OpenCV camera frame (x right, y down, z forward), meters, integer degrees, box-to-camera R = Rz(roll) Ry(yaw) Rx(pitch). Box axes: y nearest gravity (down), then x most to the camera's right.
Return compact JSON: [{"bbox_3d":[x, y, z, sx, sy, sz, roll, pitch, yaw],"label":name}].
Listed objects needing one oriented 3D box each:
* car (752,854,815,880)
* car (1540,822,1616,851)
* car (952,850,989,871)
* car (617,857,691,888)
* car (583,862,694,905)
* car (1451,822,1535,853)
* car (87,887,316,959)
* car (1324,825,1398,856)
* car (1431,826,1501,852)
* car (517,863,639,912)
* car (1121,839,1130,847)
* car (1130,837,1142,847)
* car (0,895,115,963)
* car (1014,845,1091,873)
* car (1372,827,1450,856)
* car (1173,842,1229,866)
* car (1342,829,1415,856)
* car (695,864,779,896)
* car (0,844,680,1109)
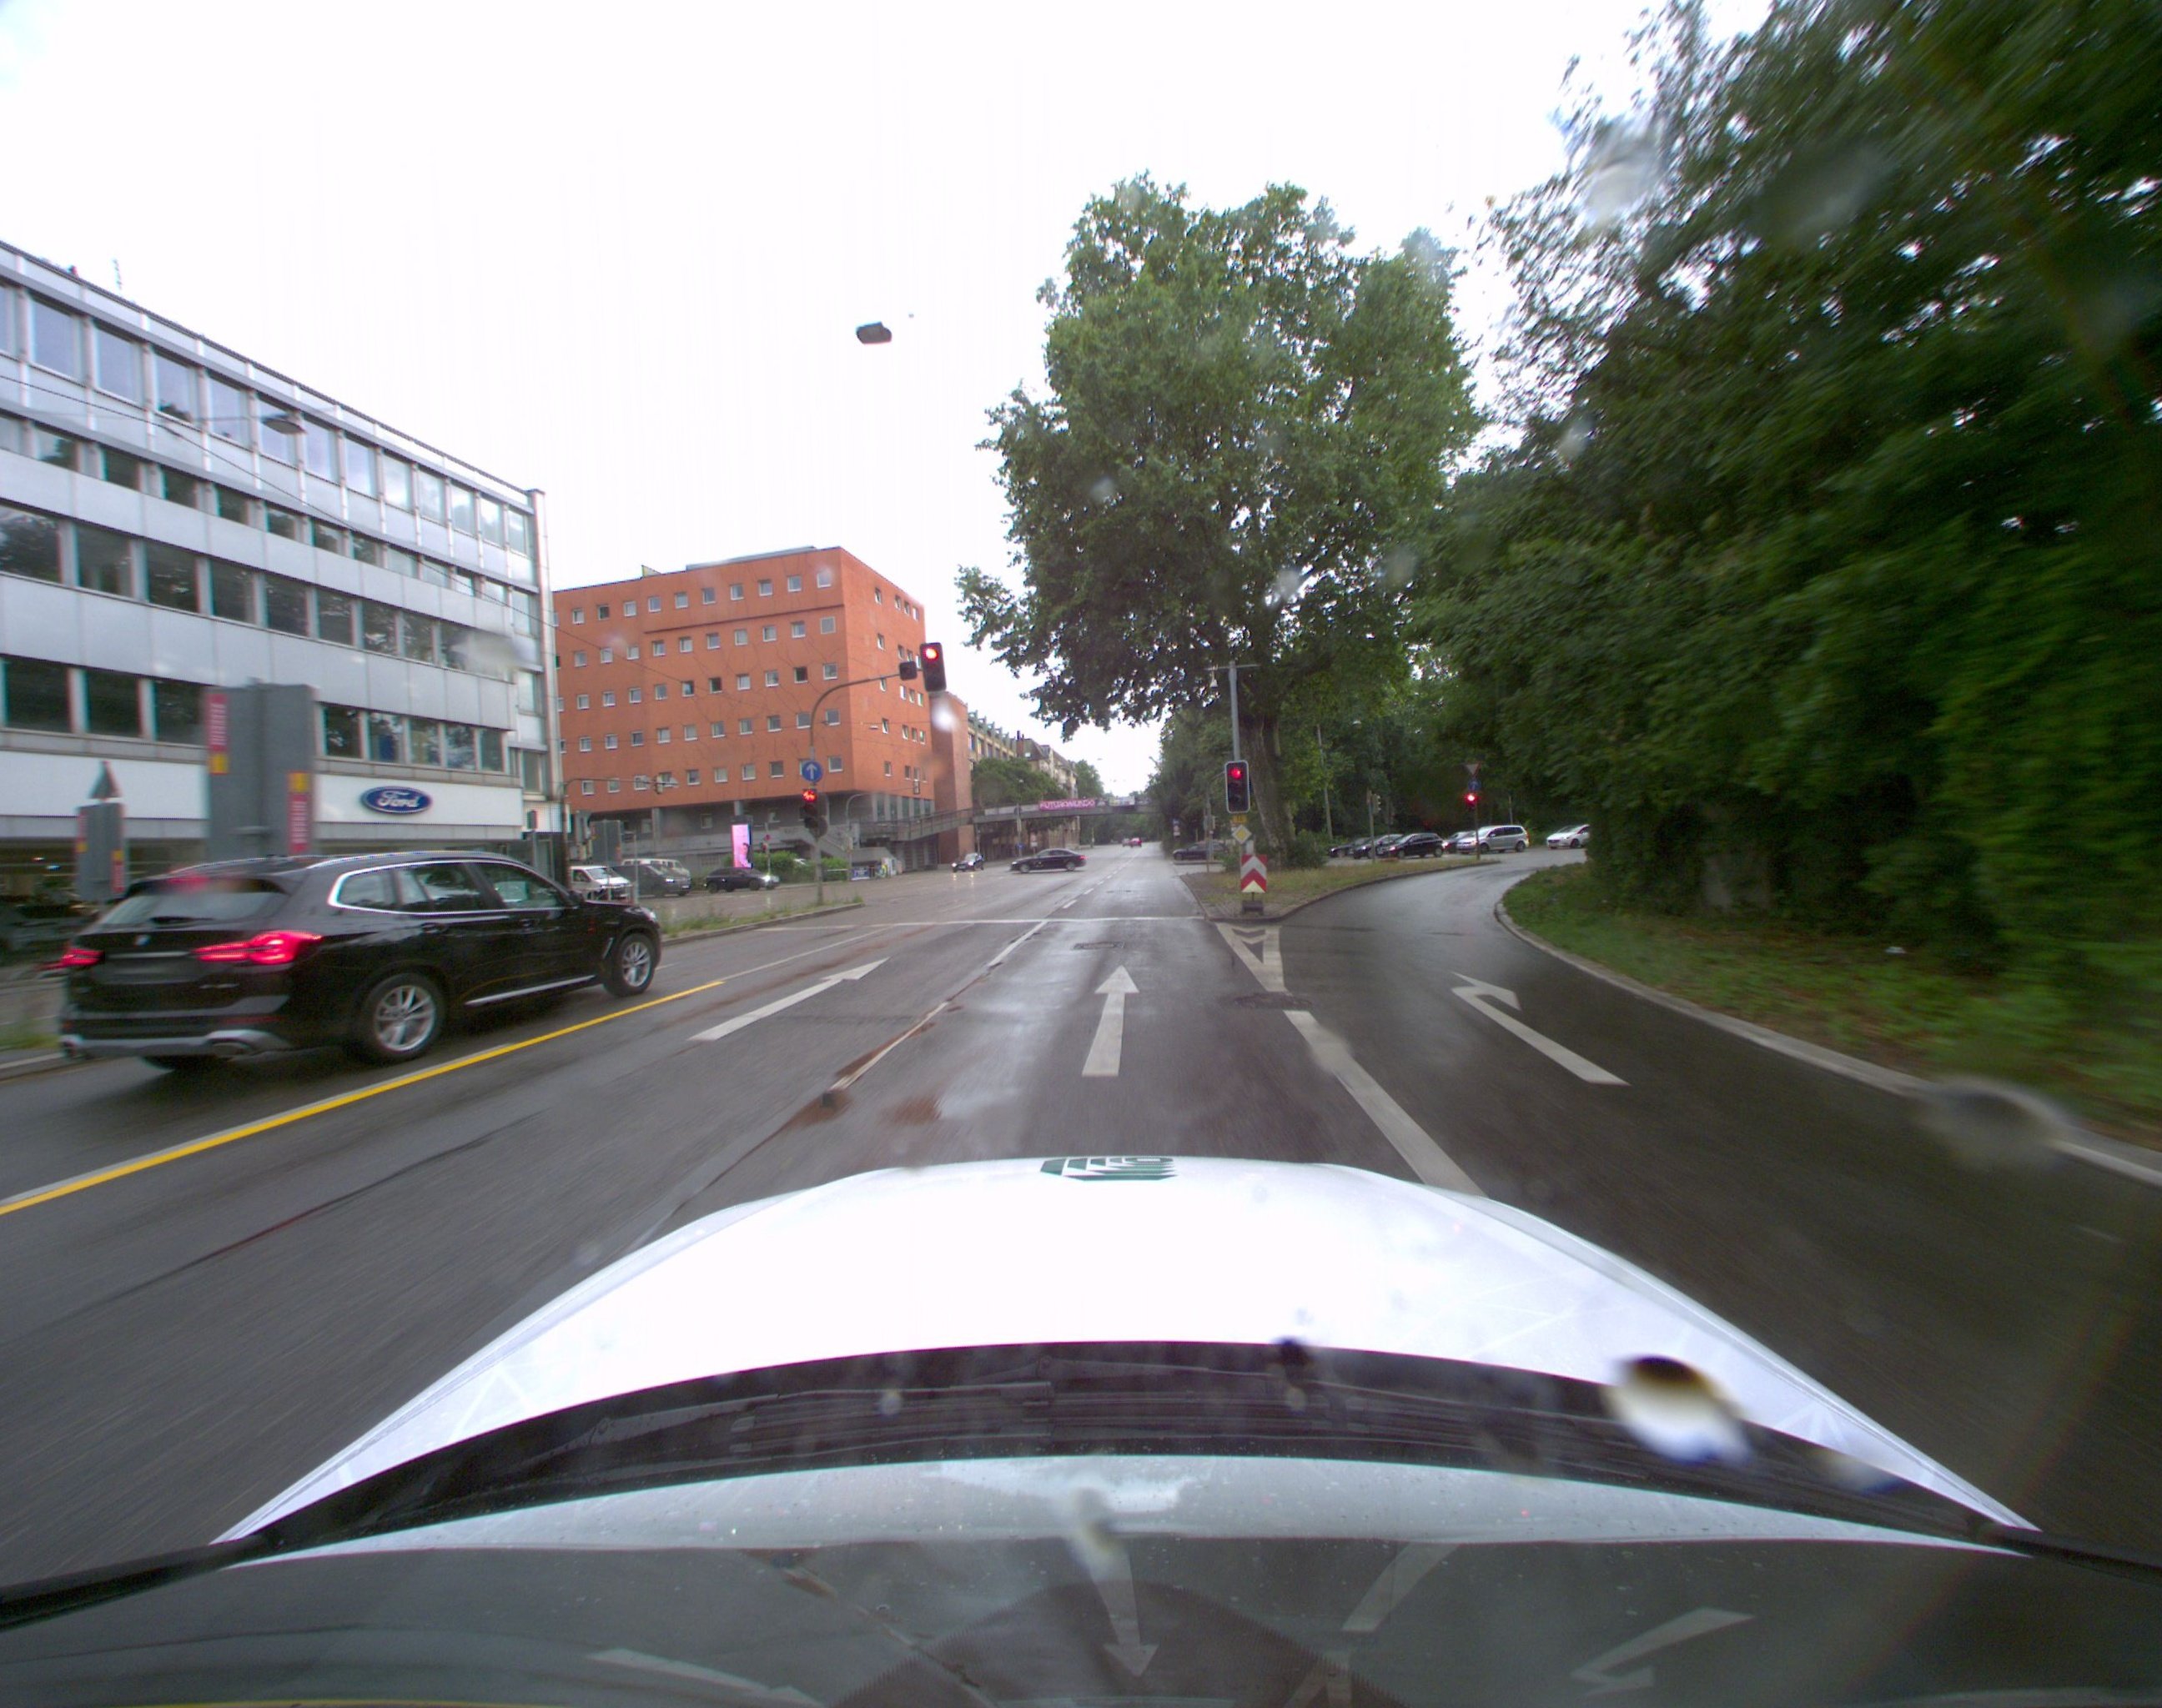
[{"bbox_3d":[-22.729,1.022,62.322,3.986,1.618,1.901,-5,0,13],"label":"car"},{"bbox_3d":[31.009,-1.082,50.833,3.996,1.486,1.764,-5,0,-16],"label":"car"},{"bbox_3d":[-8.551,0.471,63.596,1.984,1.519,4.005,-3,0,4],"label":"car"},{"bbox_3d":[-30.421,1.253,58.195,1.980,2.013,4.868,1,1,12],"label":"car"},{"bbox_3d":[-23.825,1.585,43.920,5.041,1.845,2.007,-5,-1,12],"label":"car"},{"bbox_3d":[24.716,-0.980,48.881,4.263,1.486,1.767,-5,0,-12],"label":"car"},{"bbox_3d":[-28.191,2.160,26.264,4.751,1.738,1.996,-5,0,-6],"label":"car"},{"bbox_3d":[19.667,-0.938,57.273,4.335,1.835,2.130,-5,0,-7],"label":"car"},{"bbox_3d":[24.617,-0.936,52.051,3.831,1.486,1.736,-3,1,-16],"label":"car"},{"bbox_3d":[-25.208,1.669,40.828,5.159,1.932,2.008,-5,0,13],"label":"car"},{"bbox_3d":[9.500,-2.367,174.357,1.755,1.696,3.709,-5,0,4],"label":"car"},{"bbox_3d":[10.358,-2.336,153.750,2.113,1.734,4.200,-1,2,1],"label":"car"},{"bbox_3d":[-28.419,2.058,20.428,5.191,1.520,1.992,-5,0,-11],"label":"car"},{"bbox_3d":[-1.750,0.320,50.406,4.594,1.451,1.772,-3,0,-4],"label":"car"},{"bbox_3d":[19.093,-0.704,47.128,3.856,1.485,1.666,-3,0,-11],"label":"car"},{"bbox_3d":[8.984,-0.006,61.327,1.886,1.637,4.484,-3,1,-28],"label":"car"},{"bbox_3d":[18.639,-0.712,51.057,3.996,1.486,1.869,-2,0,-16],"label":"car"},{"bbox_3d":[-19.370,1.454,45.904,4.107,1.446,1.591,-5,0,12],"label":"car"},{"bbox_3d":[-6.017,0.769,7.545,1.938,1.597,4.677,-1,2,4],"label":"car"}]
